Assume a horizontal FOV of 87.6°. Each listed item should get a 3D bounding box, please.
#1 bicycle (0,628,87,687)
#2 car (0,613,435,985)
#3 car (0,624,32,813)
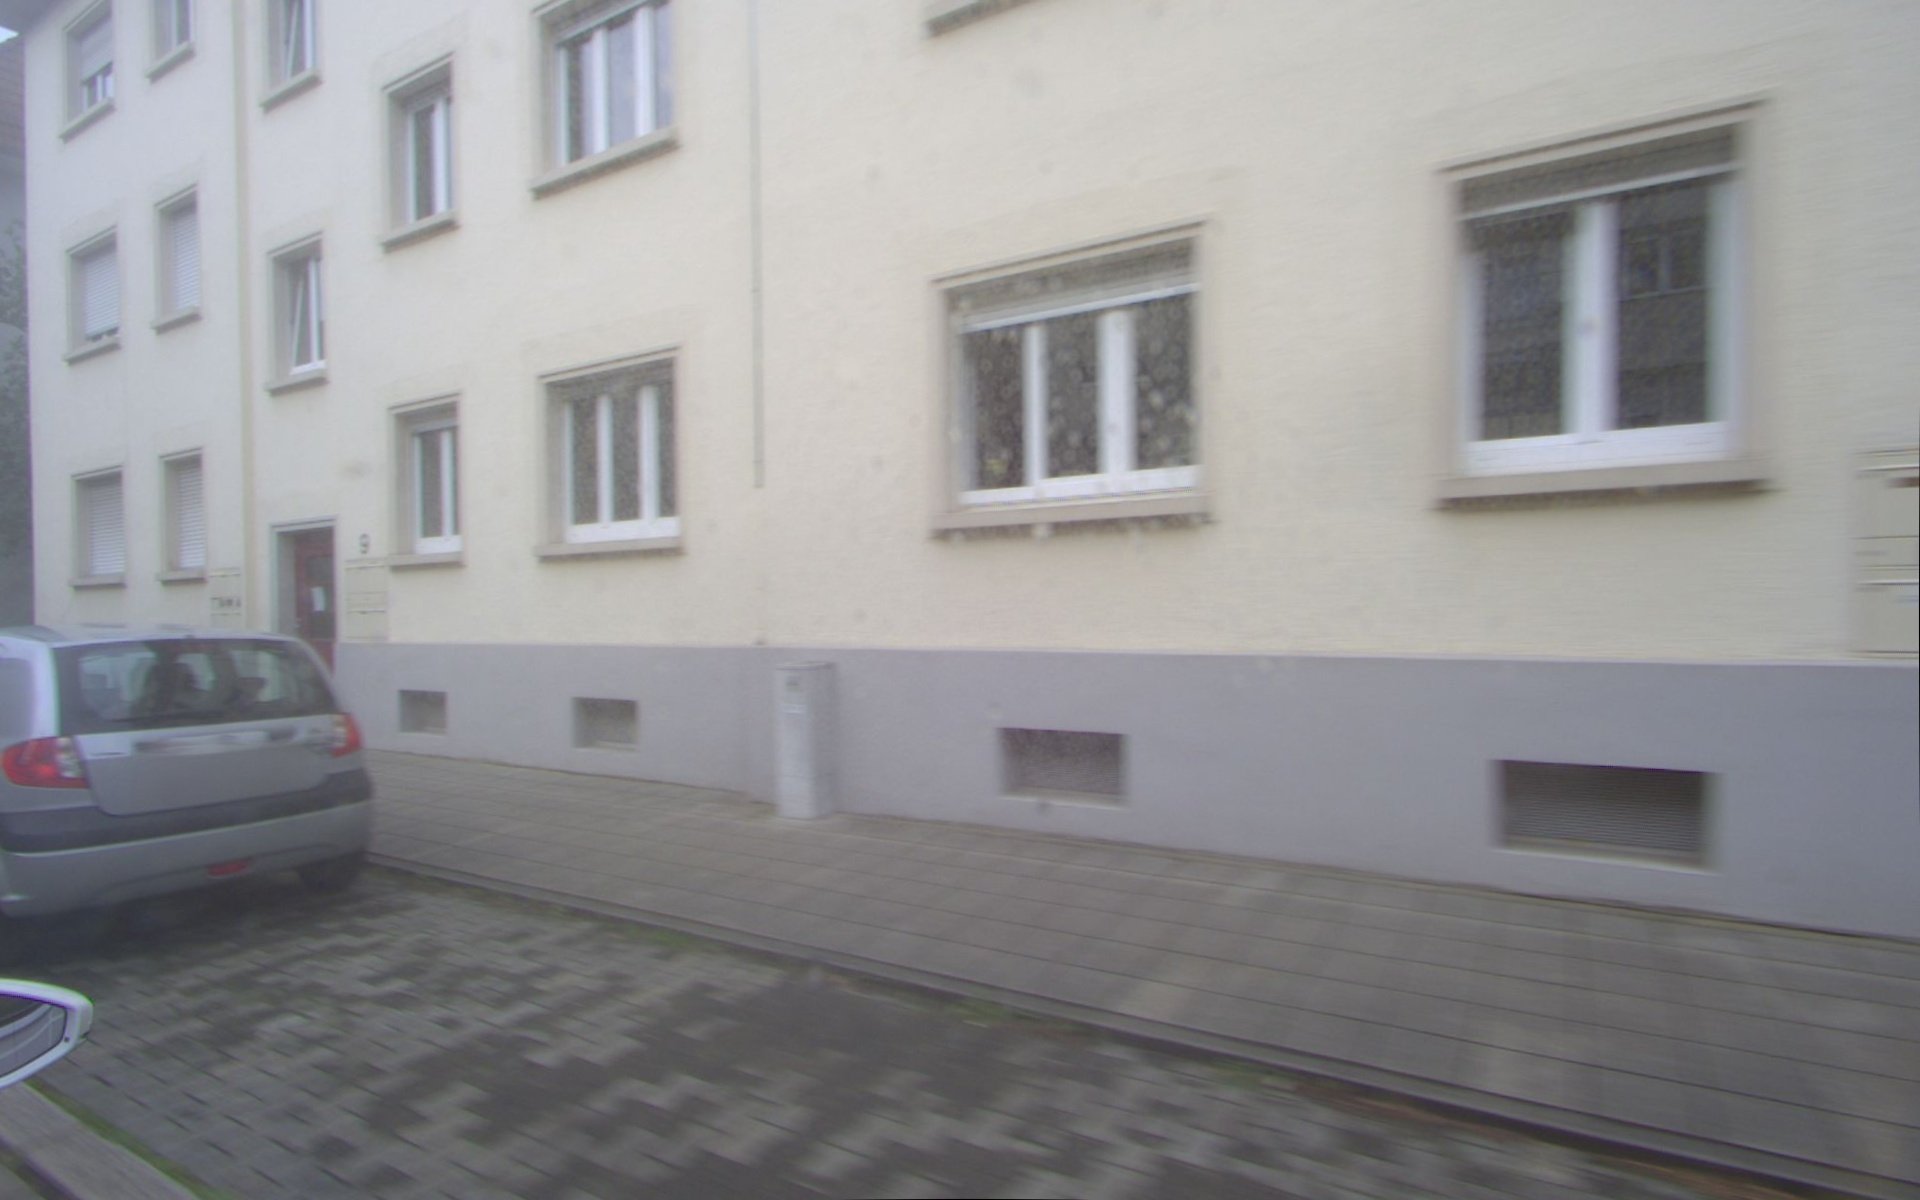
[{"bbox_3d":[-17.976,1.102,19.574,0.490,1.076,1.290,0,0,33],"label":"bicycle"},{"bbox_3d":[-4.987,0.819,5.684,3.775,1.469,1.846,-1,-1,30],"label":"car"},{"bbox_3d":[-9.536,0.948,8.421,3.813,1.495,1.600,-1,-1,32],"label":"car"}]
